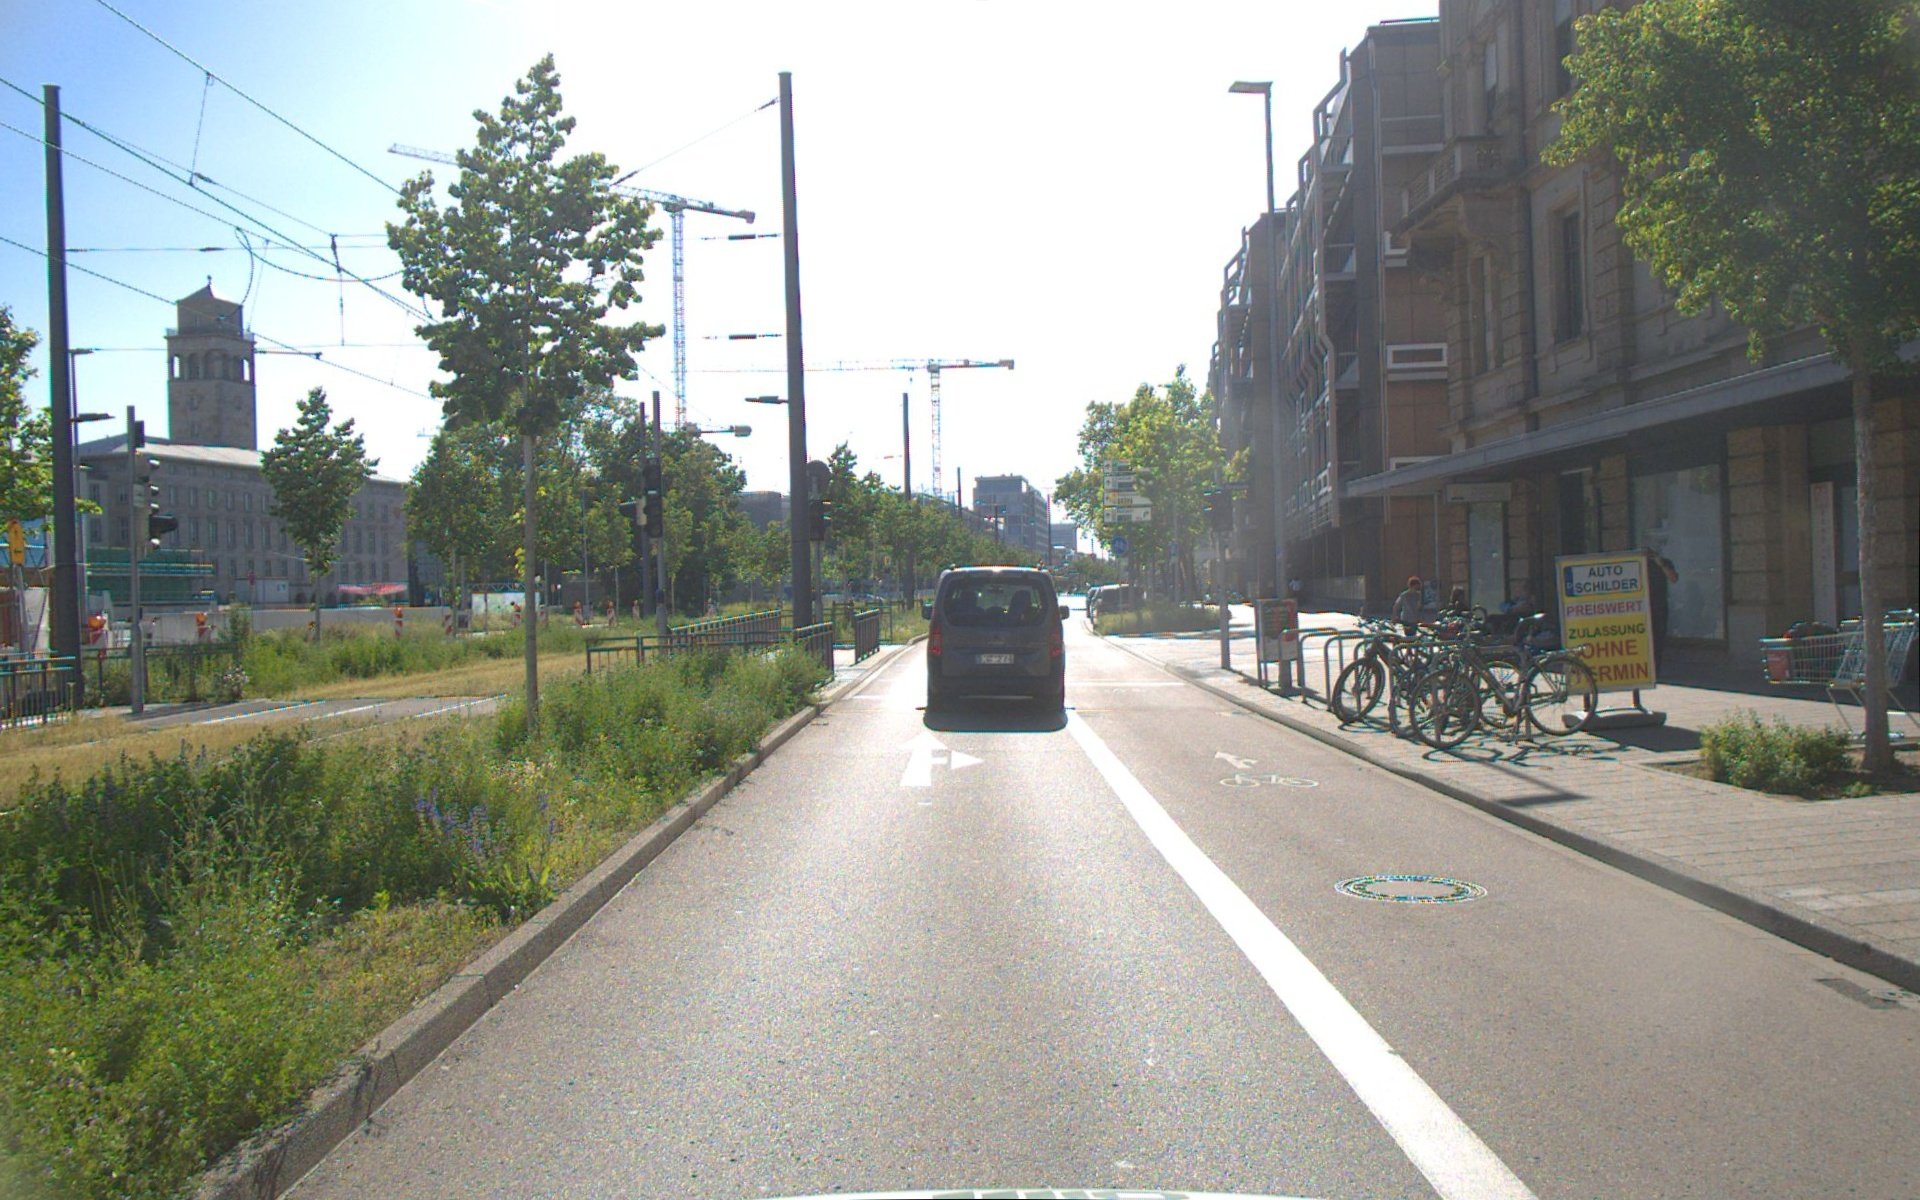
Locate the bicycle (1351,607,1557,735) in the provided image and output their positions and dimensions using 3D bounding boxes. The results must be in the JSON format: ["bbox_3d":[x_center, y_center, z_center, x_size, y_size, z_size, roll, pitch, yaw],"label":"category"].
[{"bbox_3d":[4.896,0.688,16.436,1.791,1.097,0.663,-4,0,-8],"label":"bicycle"}]

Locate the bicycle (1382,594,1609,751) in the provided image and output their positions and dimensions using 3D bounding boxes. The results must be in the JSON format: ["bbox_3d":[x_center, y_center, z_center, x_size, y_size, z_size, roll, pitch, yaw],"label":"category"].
[{"bbox_3d":[4.818,0.638,14.899,1.844,1.255,0.499,-4,0,-8],"label":"bicycle"}]

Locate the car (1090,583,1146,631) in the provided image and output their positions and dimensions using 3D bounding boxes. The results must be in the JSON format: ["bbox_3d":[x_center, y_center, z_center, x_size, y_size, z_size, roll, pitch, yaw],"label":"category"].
[{"bbox_3d":[6.020,0.294,63.454,1.979,1.752,4.120,-1,-1,3],"label":"car"}]

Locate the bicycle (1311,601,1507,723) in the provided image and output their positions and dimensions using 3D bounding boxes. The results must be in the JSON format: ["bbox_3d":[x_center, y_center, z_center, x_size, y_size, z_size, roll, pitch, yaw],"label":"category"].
[{"bbox_3d":[4.861,0.659,17.953,1.880,1.140,0.663,-5,0,-8],"label":"bicycle"}]

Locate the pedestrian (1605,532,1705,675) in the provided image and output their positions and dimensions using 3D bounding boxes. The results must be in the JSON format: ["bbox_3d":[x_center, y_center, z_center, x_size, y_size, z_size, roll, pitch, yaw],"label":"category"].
[{"bbox_3d":[8.940,0.051,21.296,0.827,1.772,0.886,-2,-1,-1],"label":"pedestrian"}]

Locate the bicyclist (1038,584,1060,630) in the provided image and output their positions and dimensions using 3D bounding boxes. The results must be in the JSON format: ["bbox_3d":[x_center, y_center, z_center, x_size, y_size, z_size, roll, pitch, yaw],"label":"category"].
[{"bbox_3d":[3.168,0.249,58.769,0.669,1.612,0.839,-1,0,-2],"label":"bicyclist"}]

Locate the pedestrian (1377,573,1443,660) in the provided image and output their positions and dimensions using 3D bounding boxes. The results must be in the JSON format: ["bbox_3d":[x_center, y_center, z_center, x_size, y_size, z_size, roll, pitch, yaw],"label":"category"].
[{"bbox_3d":[7.467,0.270,27.466,0.689,1.359,1.011,-5,-1,-1],"label":"pedestrian"}]

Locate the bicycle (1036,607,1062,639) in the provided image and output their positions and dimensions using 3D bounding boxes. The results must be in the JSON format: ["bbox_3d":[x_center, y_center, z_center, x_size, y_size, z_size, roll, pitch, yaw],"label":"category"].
[{"bbox_3d":[3.169,0.814,58.801,0.687,1.110,2.276,-1,0,-2],"label":"bicycle"}]

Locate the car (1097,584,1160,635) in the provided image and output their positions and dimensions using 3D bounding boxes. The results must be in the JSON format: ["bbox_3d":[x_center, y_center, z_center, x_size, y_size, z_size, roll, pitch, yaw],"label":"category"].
[{"bbox_3d":[5.784,0.345,57.126,1.947,1.666,4.191,-1,-1,3],"label":"car"}]

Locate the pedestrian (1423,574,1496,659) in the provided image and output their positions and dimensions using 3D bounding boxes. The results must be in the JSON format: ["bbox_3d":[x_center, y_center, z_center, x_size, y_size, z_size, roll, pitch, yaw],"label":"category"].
[{"bbox_3d":[8.264,0.269,27.407,0.816,1.310,1.007,-5,0,-1],"label":"pedestrian"}]

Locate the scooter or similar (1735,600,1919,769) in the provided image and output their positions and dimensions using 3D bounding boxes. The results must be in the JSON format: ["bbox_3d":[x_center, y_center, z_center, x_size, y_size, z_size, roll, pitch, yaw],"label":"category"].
[{"bbox_3d":[6.473,0.602,12.108,1.195,1.125,0.783,-3,1,1],"label":"scooter or similar"}]

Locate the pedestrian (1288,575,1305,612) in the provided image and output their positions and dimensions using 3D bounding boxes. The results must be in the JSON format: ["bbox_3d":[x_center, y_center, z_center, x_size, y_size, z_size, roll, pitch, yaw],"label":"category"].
[{"bbox_3d":[15.906,-0.309,78.161,0.685,1.681,0.724,-1,0,6],"label":"pedestrian"}]

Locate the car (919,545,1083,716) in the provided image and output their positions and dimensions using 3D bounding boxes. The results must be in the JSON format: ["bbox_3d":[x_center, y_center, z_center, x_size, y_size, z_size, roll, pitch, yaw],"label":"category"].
[{"bbox_3d":[0.450,0.347,22.001,1.953,2.049,3.999,0,1,-2],"label":"car"}]
